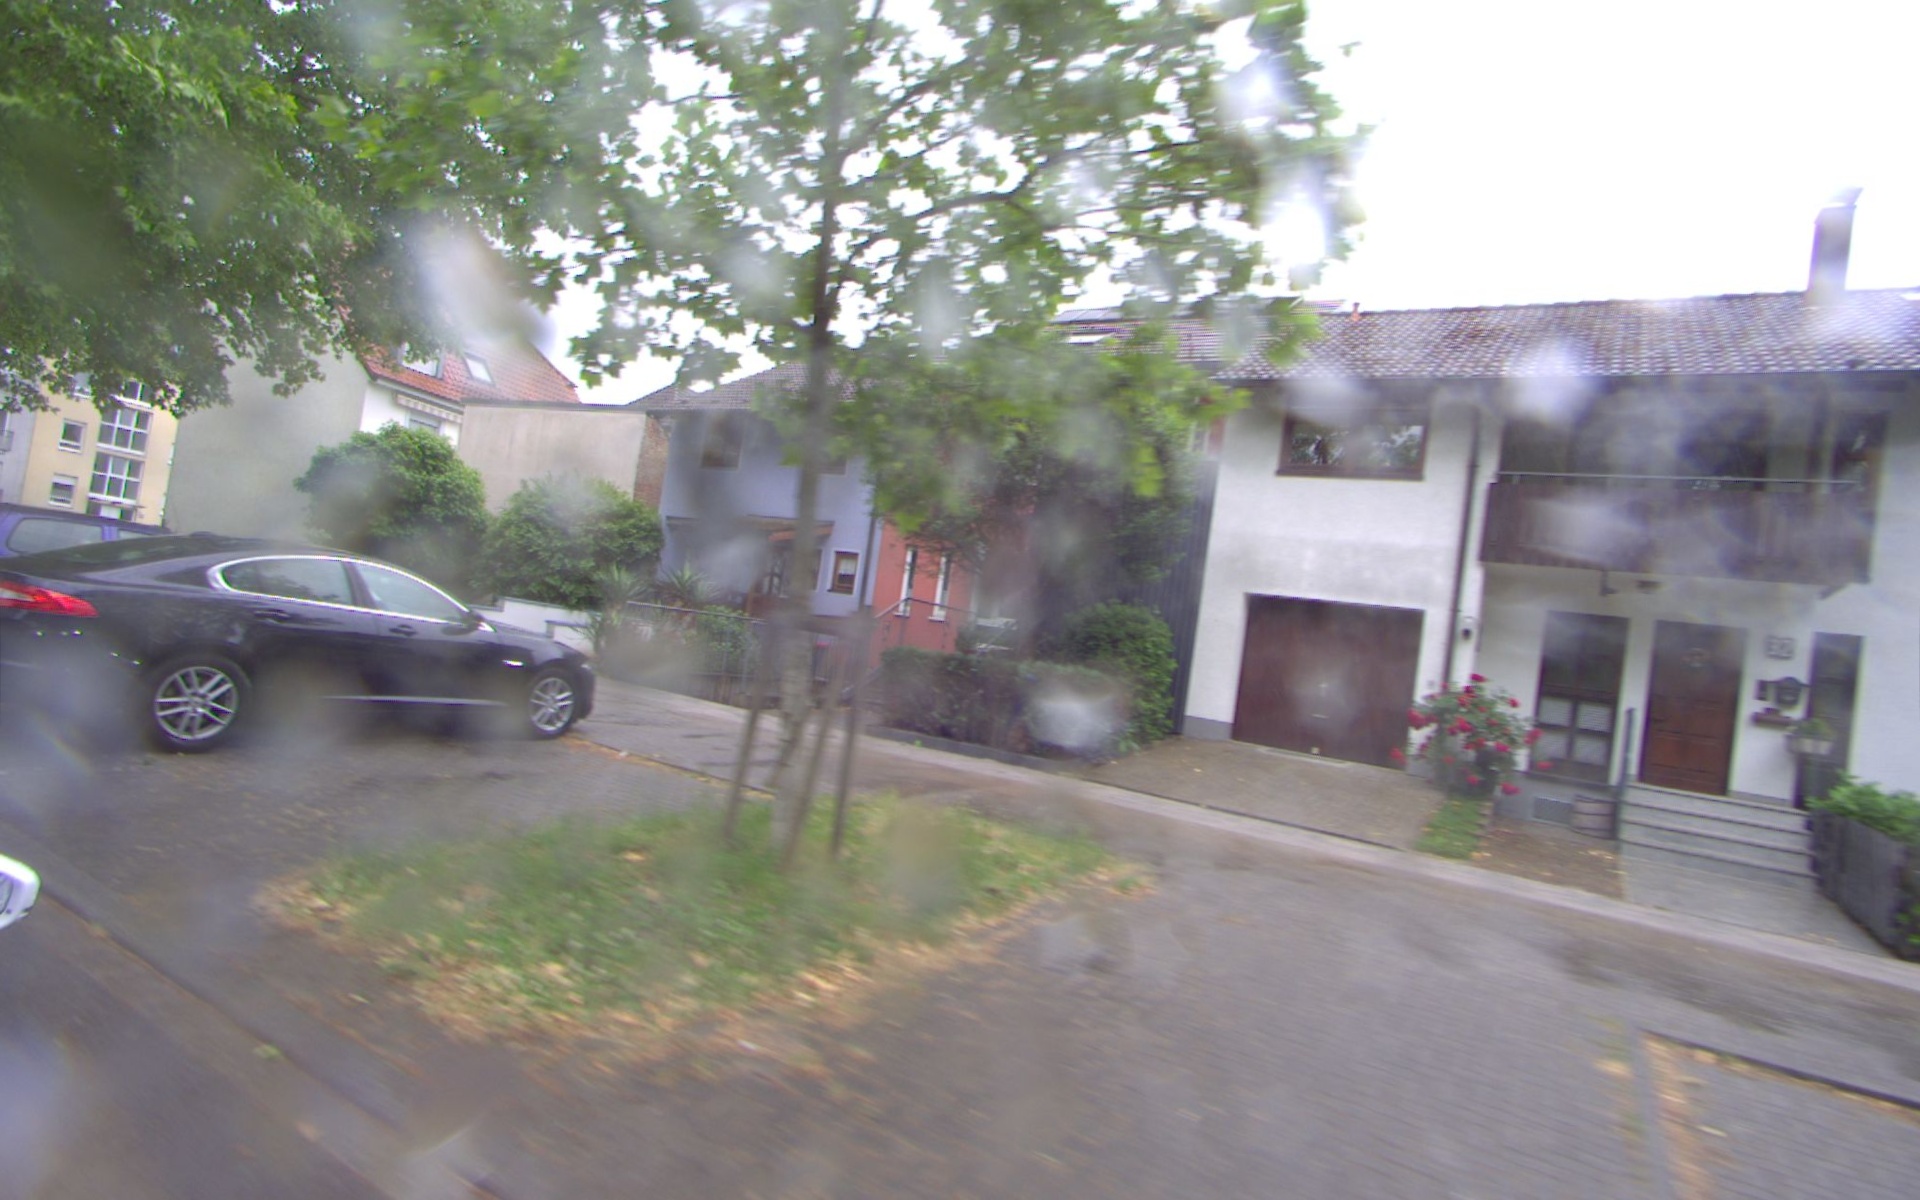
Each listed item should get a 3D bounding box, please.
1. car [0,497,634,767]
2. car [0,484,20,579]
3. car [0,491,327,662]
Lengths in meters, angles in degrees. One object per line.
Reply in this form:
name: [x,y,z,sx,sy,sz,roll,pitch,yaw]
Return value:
car: [-5.158,0.293,8.093,1.903,1.490,4.781,7,-2,26]
car: [-20.525,-1.670,17.731,1.812,1.827,5.357,7,-2,25]
car: [-9.292,-0.248,11.165,1.591,1.480,3.364,7,-2,30]
